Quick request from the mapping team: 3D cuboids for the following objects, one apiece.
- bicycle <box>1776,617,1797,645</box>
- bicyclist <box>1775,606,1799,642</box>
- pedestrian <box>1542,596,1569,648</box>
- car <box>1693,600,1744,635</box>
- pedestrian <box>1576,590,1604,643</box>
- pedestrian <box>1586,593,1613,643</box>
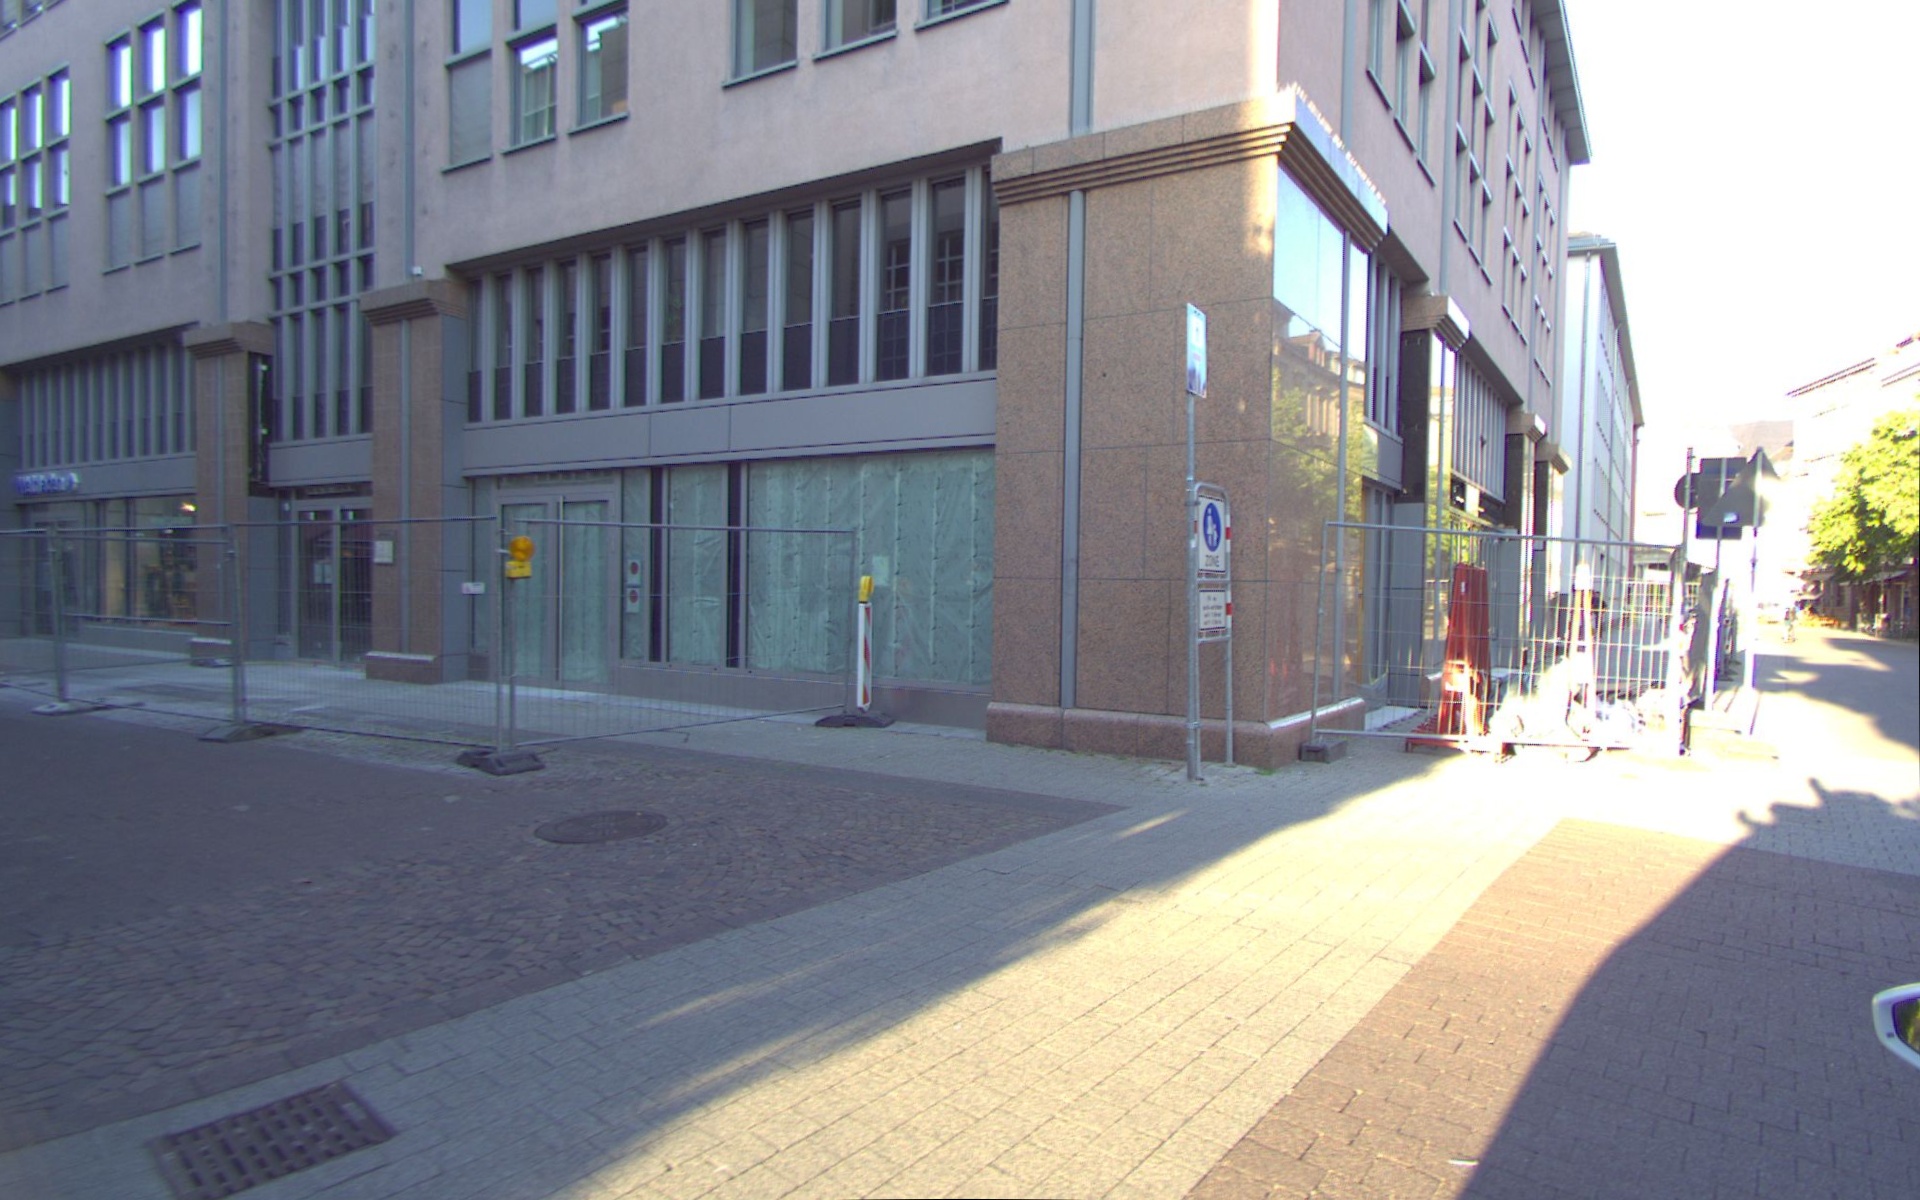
[{"bbox_3d":[35.058,1.307,42.632,0.581,1.109,2.151,1,0,37],"label":"bicycle"},{"bbox_3d":[35.017,1.014,42.547,0.712,1.488,0.715,2,1,37],"label":"bicyclist"},{"bbox_3d":[20.522,0.743,34.628,0.647,1.749,0.630,2,1,43],"label":"pedestrian"},{"bbox_3d":[39.324,0.906,52.129,1.816,1.706,3.634,1,0,33],"label":"car"},{"bbox_3d":[21.389,0.560,34.098,0.647,1.787,0.630,2,1,43],"label":"pedestrian"},{"bbox_3d":[21.907,0.619,34.408,0.647,1.674,0.630,2,1,43],"label":"pedestrian"}]
